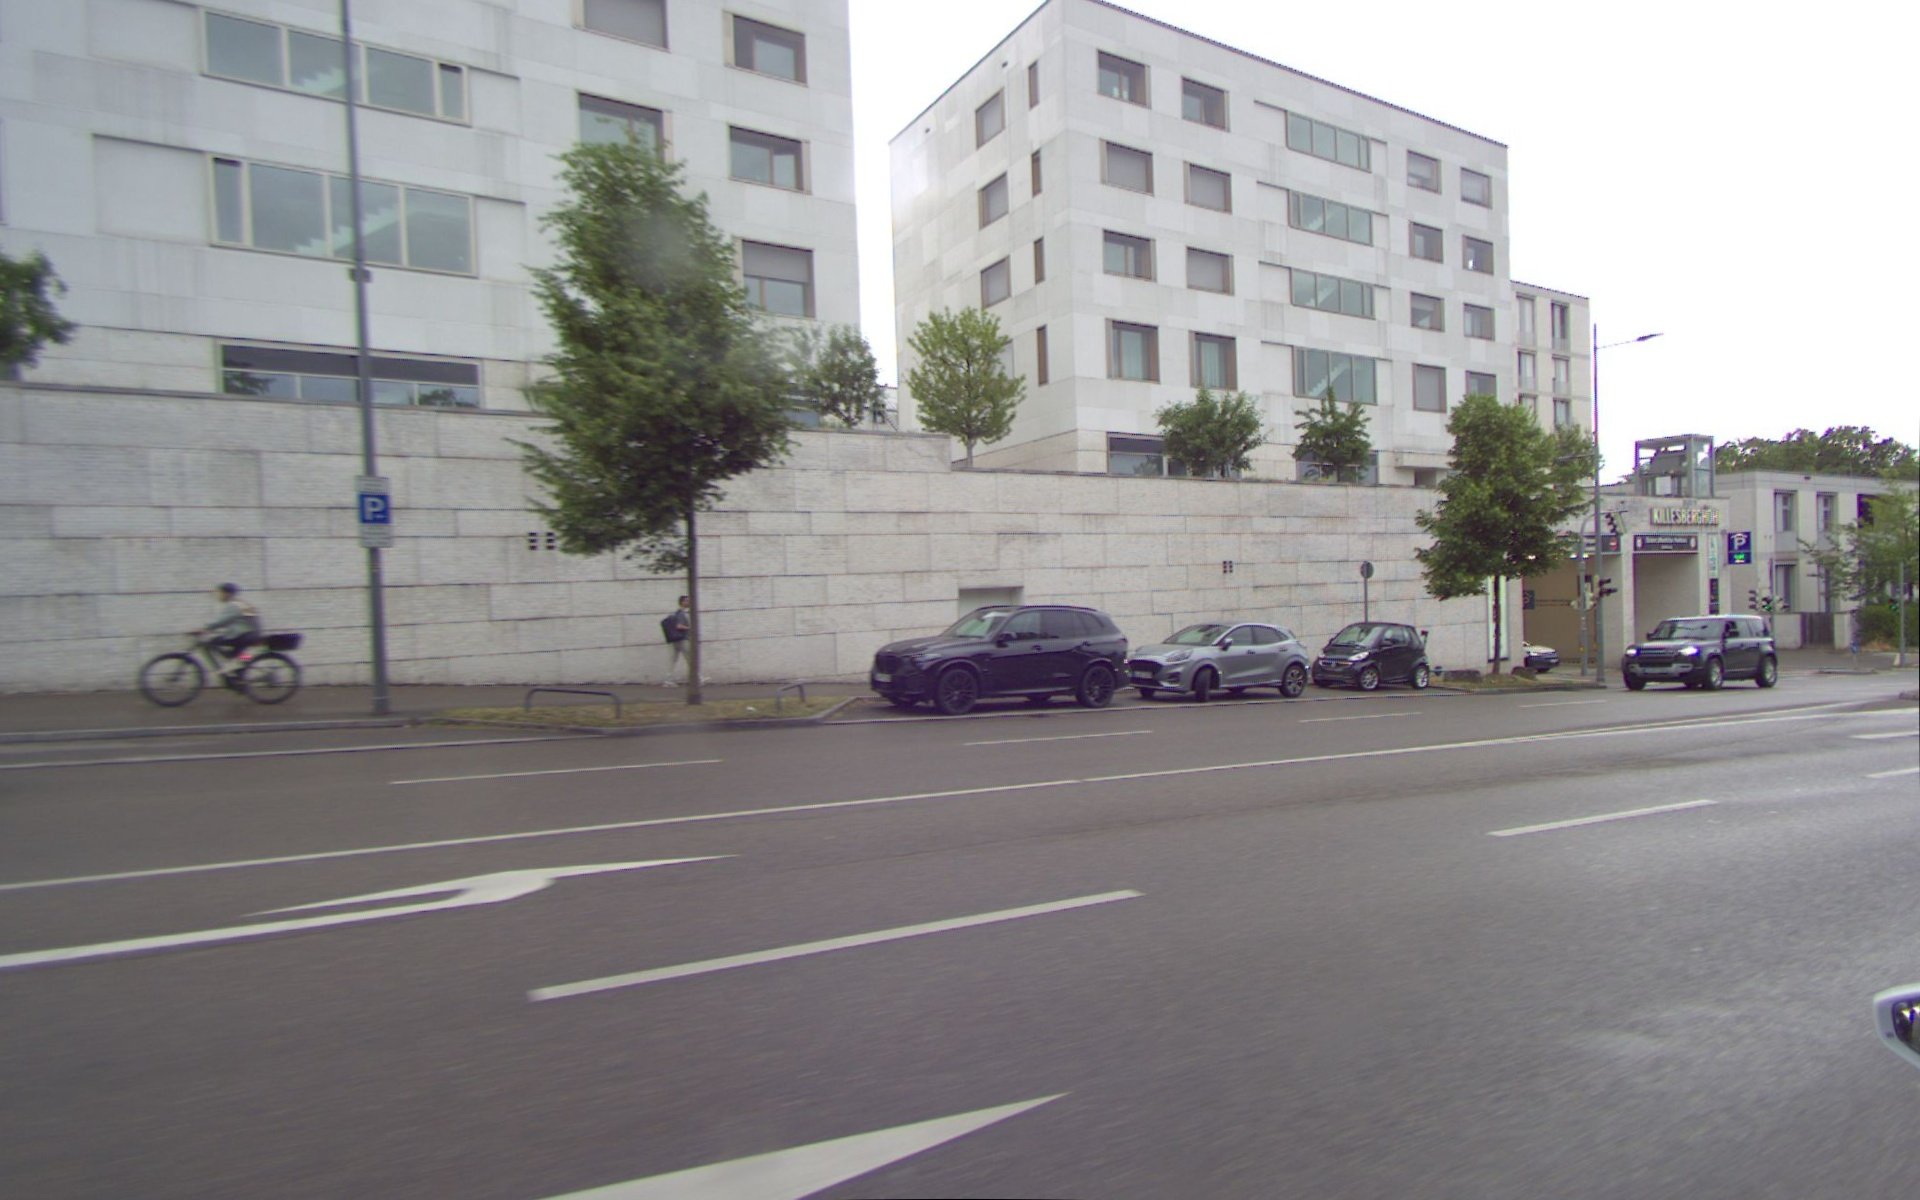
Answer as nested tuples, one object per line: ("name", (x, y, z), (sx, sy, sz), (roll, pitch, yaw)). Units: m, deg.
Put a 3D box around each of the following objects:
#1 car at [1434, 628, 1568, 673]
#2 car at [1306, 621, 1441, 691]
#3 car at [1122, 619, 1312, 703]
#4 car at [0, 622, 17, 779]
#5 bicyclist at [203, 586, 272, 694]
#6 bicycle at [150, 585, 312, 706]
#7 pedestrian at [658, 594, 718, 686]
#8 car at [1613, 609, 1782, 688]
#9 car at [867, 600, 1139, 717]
("car", (22.034, 2.015, 41.084), (1.906, 1.694, 4.478), (2, -2, -32))
("car", (9.871, 1.305, 23.966), (2.946, 1.535, 1.500), (1, 0, -31))
("car", (5.250, 1.185, 20.440), (3.668, 1.535, 1.670), (1, -1, -32))
("car", (-10.047, 0.835, 7.429), (4.143, 1.399, 1.761), (1, -2, -32))
("bicyclist", (-10.589, 0.579, 14.740), (0.760, 1.538, 0.574), (0, 0, -31))
("bicycle", (-10.627, 0.638, 14.733), (1.859, 1.679, 0.739), (0, -1, -31))
("pedestrian", (-5.493, 0.792, 20.288), (1.010, 1.798, 0.704), (1, -1, -32))
("car", (19.056, 1.273, 25.919), (4.456, 1.881, 1.911), (1, -5, -32))
("car", (0.816, 0.956, 17.610), (4.546, 1.804, 1.846), (1, 0, -33))
